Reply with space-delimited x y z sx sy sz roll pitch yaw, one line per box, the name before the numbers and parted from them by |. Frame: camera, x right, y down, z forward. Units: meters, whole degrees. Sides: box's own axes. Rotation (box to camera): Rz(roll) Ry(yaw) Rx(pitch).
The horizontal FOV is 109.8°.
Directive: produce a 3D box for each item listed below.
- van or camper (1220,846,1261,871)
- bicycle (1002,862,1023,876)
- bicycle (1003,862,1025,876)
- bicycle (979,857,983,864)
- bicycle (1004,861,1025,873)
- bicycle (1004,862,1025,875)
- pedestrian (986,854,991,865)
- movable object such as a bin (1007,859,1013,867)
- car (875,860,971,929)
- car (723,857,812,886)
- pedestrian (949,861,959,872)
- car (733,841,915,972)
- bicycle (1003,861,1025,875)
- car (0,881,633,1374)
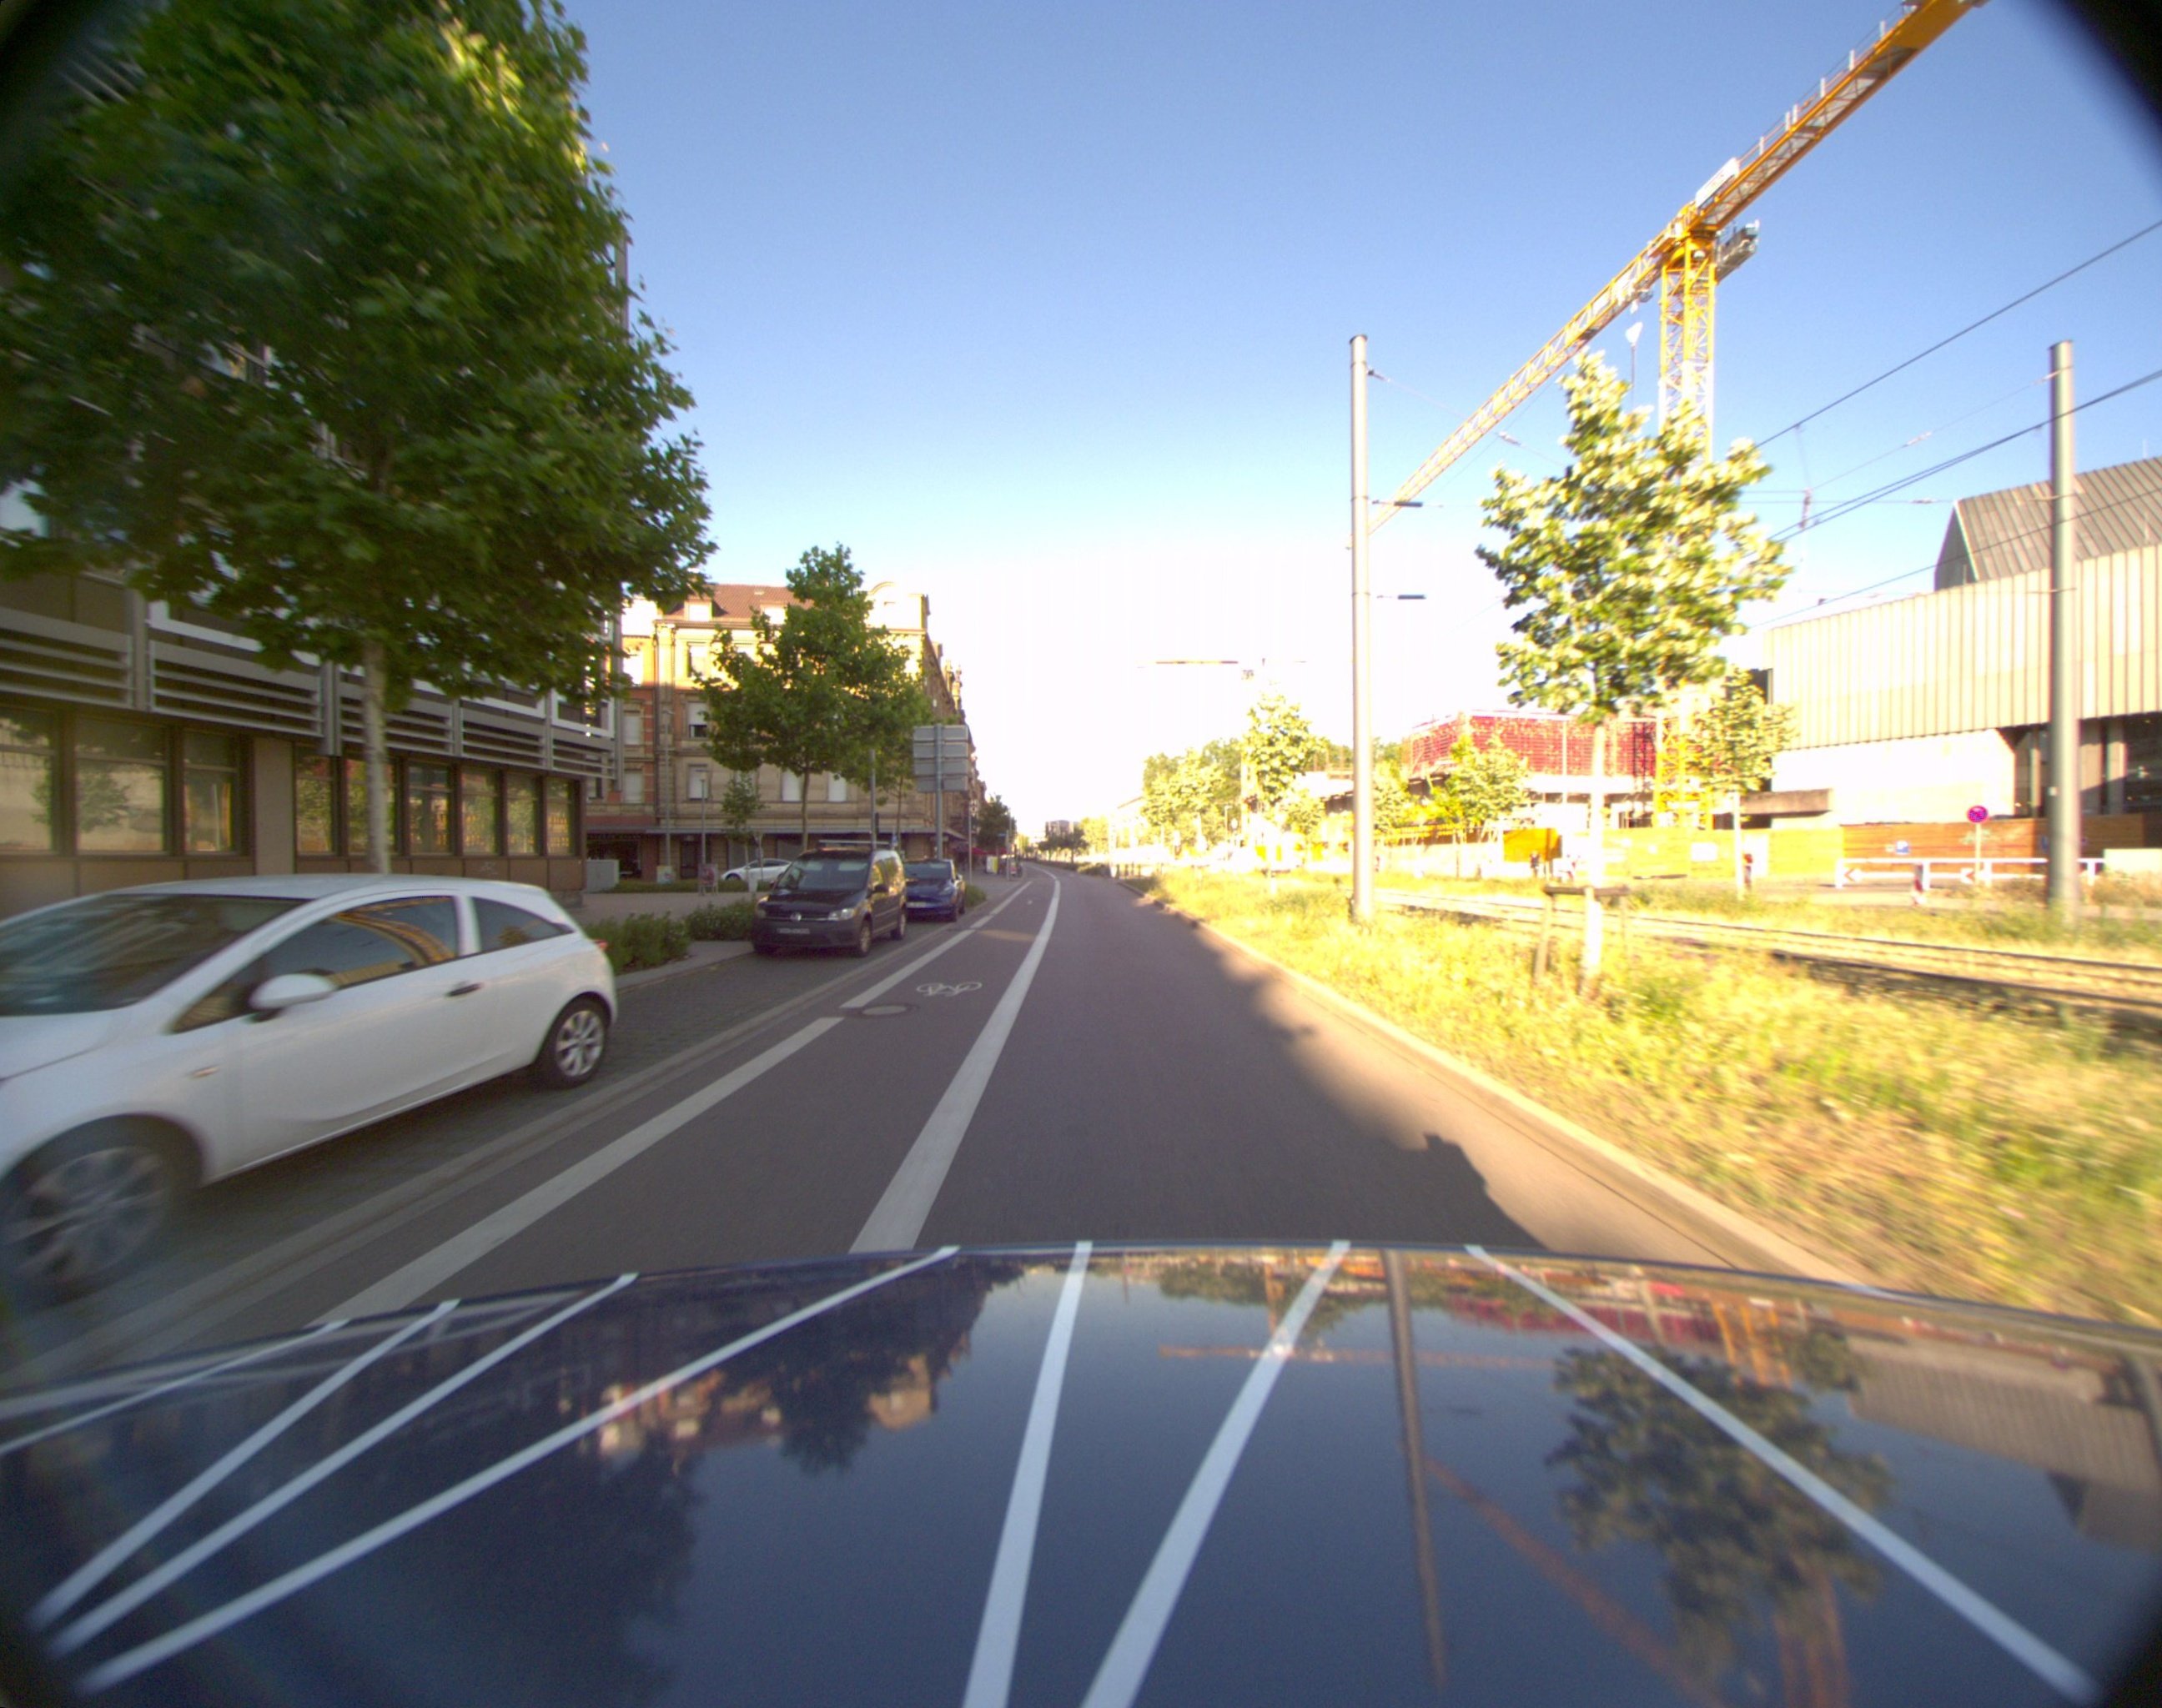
van or camper | 16.951 0.453 81.200 2.228 2.495 7.198 1 -1 -5
bicycle | -5.806 1.243 64.205 1.726 1.098 0.507 2 0 1
bicycle | -5.514 1.215 62.349 1.758 1.098 0.507 2 0 1
bicycle | -17.489 1.132 133.127 0.706 1.213 2.071 -1 0 -6
bicycle | -6.038 1.200 68.806 1.809 1.041 0.566 2 0 1
bicycle | -5.884 1.270 67.303 1.849 1.098 0.566 2 0 1
pedestrian | -15.686 0.947 128.932 0.749 1.744 1.071 1 0 -5
movable object such as a bin | -9.345 1.172 99.751 0.676 0.919 0.561 3 1 15
car | -4.140 0.995 20.632 1.937 1.589 4.697 1 0 -4
car | -18.461 1.026 44.942 4.555 1.586 1.861 -1 1 -10
pedestrian | -11.911 1.159 71.279 0.816 0.957 0.804 0 0 -3
car | -4.319 0.796 13.539 1.739 1.908 4.393 1 0 -1
bicycle | -5.536 1.171 62.939 1.758 1.098 0.507 2 0 1
car | -4.325 0.956 3.673 1.667 1.481 4.204 1 0 2
